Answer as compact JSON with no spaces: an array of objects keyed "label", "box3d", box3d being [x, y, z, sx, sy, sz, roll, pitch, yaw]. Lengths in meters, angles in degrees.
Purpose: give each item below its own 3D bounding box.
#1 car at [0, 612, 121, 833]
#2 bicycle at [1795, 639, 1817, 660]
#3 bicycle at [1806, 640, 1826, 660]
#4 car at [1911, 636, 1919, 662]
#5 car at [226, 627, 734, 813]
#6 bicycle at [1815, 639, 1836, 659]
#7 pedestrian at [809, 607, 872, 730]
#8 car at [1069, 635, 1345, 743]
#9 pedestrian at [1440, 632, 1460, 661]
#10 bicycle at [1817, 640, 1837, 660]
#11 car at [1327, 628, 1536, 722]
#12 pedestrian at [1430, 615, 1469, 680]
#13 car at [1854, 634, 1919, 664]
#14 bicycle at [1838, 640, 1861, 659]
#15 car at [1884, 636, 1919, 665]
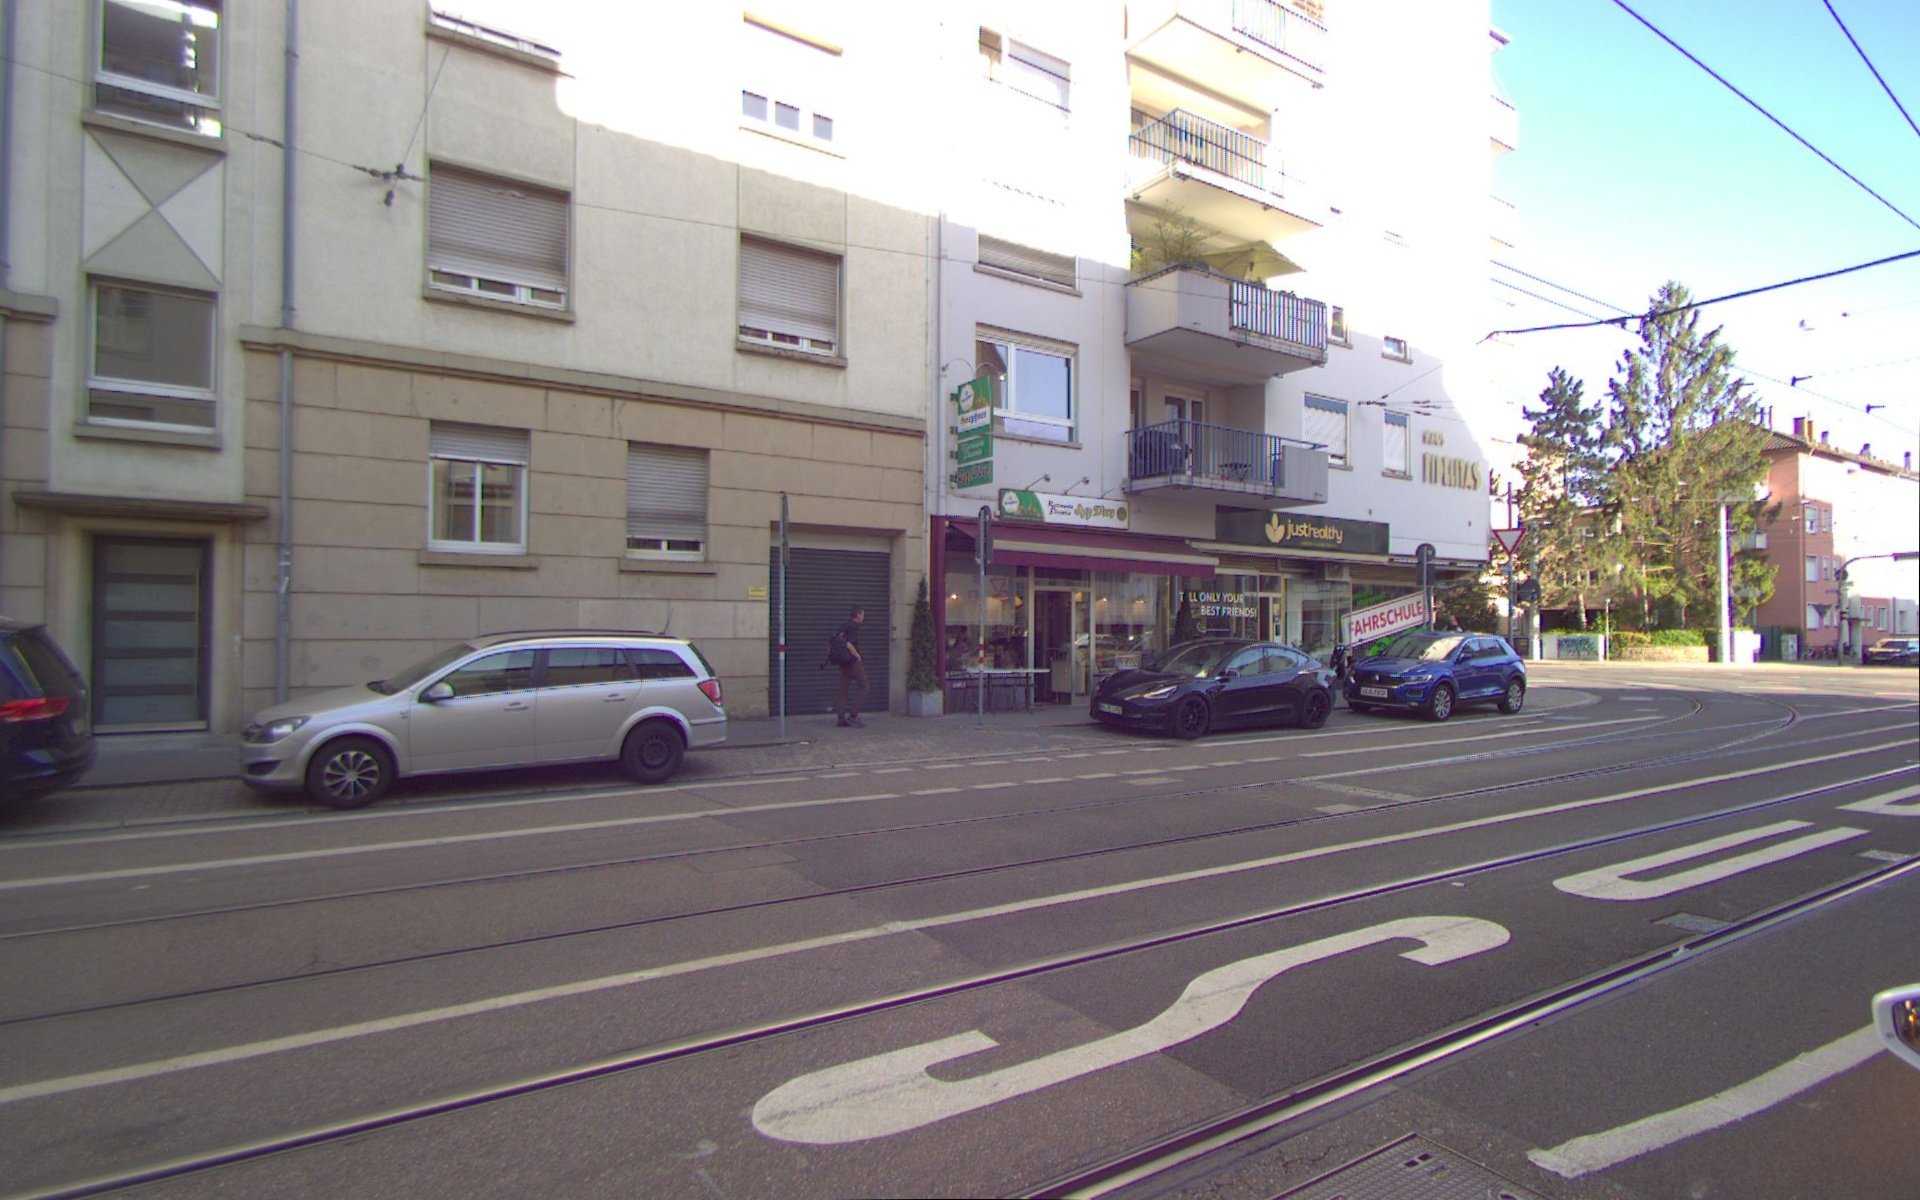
[{"label":"car","box3d":[-8.989,0.879,7.196,4.343,1.620,1.785,1,-1,-34]},{"label":"bicycle","box3d":[46.890,2.726,55.636,1.895,1.097,0.634,2,-2,-41]},{"label":"bicycle","box3d":[47.185,2.736,55.344,1.895,1.097,0.532,2,-2,-41]},{"label":"car","box3d":[58.135,2.900,59.455,3.961,1.539,1.938,1,-2,-36]},{"label":"car","box3d":[-4.702,1.049,10.218,4.343,1.497,1.785,1,-1,-34]},{"label":"bicycle","box3d":[50.748,2.862,58.884,1.892,1.097,0.533,1,-2,-37]},{"label":"pedestrian","box3d":[-1.734,0.979,14.576,0.722,1.731,0.600,1,-2,-32]},{"label":"car","box3d":[4.017,1.316,16.046,4.442,1.422,1.714,1,1,-34]},{"label":"pedestrian","box3d":[29.735,2.801,60.946,0.672,1.725,0.805,1,-2,-30]},{"label":"bicycle","box3d":[47.613,2.749,55.168,1.895,1.097,0.532,2,-2,-41]},{"label":"car","box3d":[8.997,1.346,19.088,4.072,1.525,1.714,1,1,-34]},{"label":"pedestrian","box3d":[14.083,1.356,28.894,0.707,1.859,0.771,0,-1,-3]},{"label":"car","box3d":[49.732,2.618,53.786,3.961,1.539,1.938,1,-2,-36]},{"label":"bicycle","box3d":[53.165,2.940,60.029,1.892,1.097,0.605,1,-2,-37]},{"label":"car","box3d":[54.281,2.843,57.016,4.006,1.539,1.938,1,-2,-36]}]
